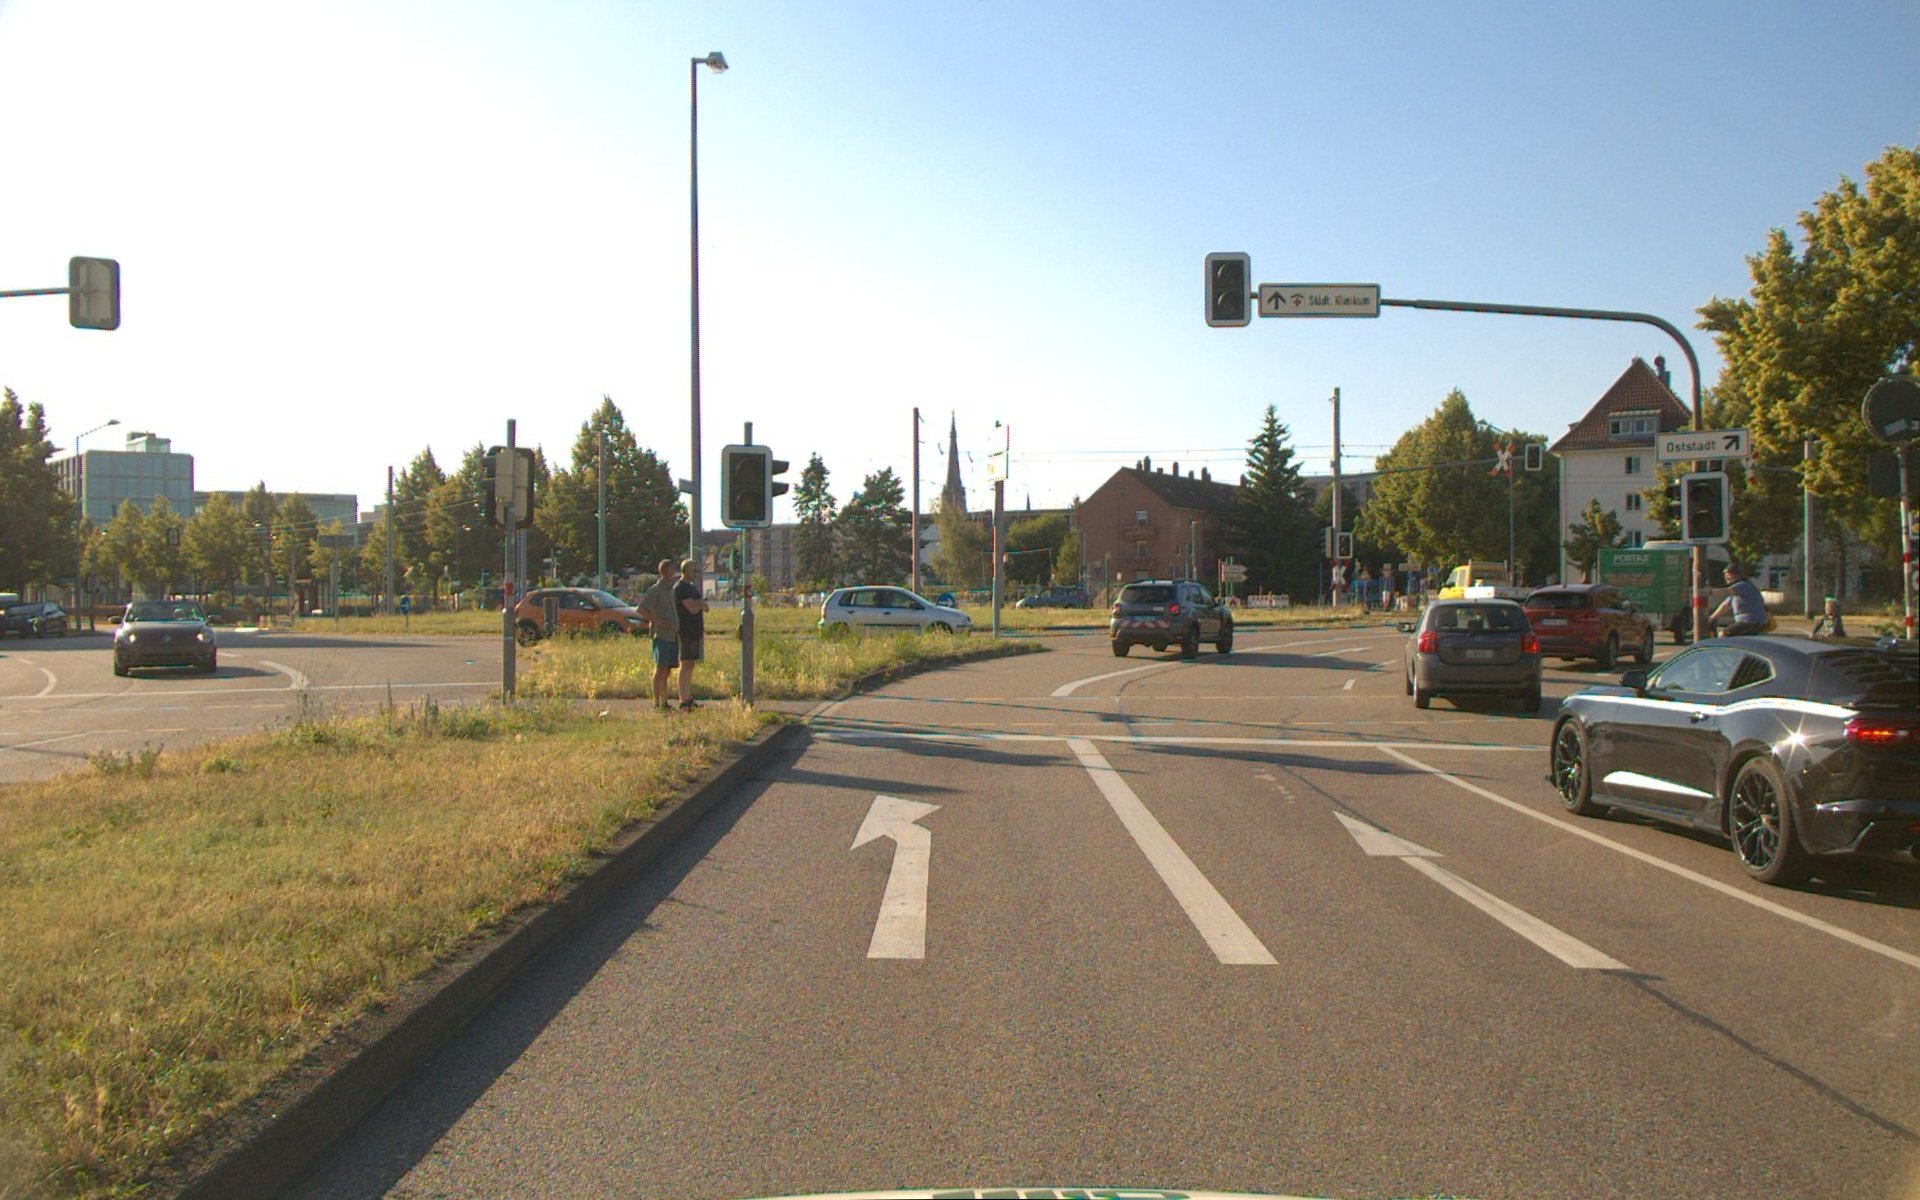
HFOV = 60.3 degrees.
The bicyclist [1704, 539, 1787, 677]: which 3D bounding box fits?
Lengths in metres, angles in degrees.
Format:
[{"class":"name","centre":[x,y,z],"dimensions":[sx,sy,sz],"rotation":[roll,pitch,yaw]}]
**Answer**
[{"class":"bicyclist","centre":[11.222,0.116,23.631],"dimensions":[0.920,1.932,0.599],"rotation":[-2,-1,36]}]

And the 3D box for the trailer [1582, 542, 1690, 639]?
[{"class":"trailer","centre":[17.797,-0.246,43.473],"dimensions":[2.052,2.442,3.492],"rotation":[1,0,32]}]

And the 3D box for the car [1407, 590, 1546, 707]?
[{"class":"car","centre":[7.237,0.622,23.459],"dimensions":[1.710,1.499,3.823],"rotation":[-1,0,15]}]

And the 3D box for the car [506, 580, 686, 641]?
[{"class":"car","centre":[-9.247,0.262,42.121],"dimensions":[4.038,1.470,1.911],"rotation":[-1,0,15]}]

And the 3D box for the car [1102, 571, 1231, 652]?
[{"class":"car","centre":[4.598,0.240,36.389],"dimensions":[1.866,1.689,4.000],"rotation":[0,0,22]}]

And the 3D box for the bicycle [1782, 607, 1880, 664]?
[{"class":"bicycle","centre":[13.121,0.530,24.915],"dimensions":[1.436,0.800,0.437],"rotation":[-1,0,-18]}]

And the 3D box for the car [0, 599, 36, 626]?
[{"class":"car","centre":[-74.410,0.993,130.192],"dimensions":[1.985,2.049,3.935],"rotation":[-1,0,-44]}]

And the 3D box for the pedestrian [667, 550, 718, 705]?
[{"class":"pedestrian","centre":[-3.296,0.332,20.388],"dimensions":[0.475,1.876,0.672],"rotation":[-1,0,3]}]

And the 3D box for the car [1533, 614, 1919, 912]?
[{"class":"car","centre":[5.340,0.829,10.390],"dimensions":[1.816,1.361,4.624],"rotation":[1,1,-1]}]

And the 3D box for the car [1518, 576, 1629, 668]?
[{"class":"car","centre":[12.286,0.380,32.991],"dimensions":[1.713,1.649,3.817],"rotation":[2,2,25]}]

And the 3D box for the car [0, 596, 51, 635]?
[{"class":"car","centre":[-37.067,0.595,65.392],"dimensions":[1.493,1.479,3.416],"rotation":[-1,0,-37]}]

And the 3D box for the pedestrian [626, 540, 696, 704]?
[{"class":"pedestrian","centre":[-3.506,0.262,19.403],"dimensions":[0.476,1.876,0.719],"rotation":[-2,-1,21]}]

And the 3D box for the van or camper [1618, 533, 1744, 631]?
[{"class":"van or camper","centre":[21.218,-0.497,48.459],"dimensions":[2.245,2.675,6.562],"rotation":[1,0,34]}]

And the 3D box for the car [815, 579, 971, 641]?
[{"class":"car","centre":[-1.618,0.246,40.847],"dimensions":[3.668,1.459,1.837],"rotation":[-1,0,3]}]

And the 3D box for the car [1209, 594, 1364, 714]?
[{"class":"car","centre":[4.838,0.737,24.959],"dimensions":[1.569,1.638,4.000],"rotation":[0,0,0]}]

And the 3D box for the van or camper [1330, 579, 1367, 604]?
[{"class":"van or camper","centre":[35.555,-0.805,151.420],"dimensions":[2.055,2.192,4.414],"rotation":[0,0,31]}]

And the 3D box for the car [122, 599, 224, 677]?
[{"class":"car","centre":[-15.815,0.713,33.385],"dimensions":[1.645,1.400,4.119],"rotation":[-2,1,-23]}]

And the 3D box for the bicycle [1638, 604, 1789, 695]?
[{"class":"bicycle","centre":[10.870,0.721,23.901],"dimensions":[1.872,1.266,0.607],"rotation":[-2,-1,37]}]

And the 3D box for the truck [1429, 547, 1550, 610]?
[{"class":"truck","centre":[22.942,-0.903,72.010],"dimensions":[2.532,2.602,6.239],"rotation":[-1,0,-9]}]

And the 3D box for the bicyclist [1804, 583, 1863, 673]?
[{"class":"bicyclist","centre":[13.157,0.417,24.918],"dimensions":[0.638,1.317,0.464],"rotation":[-1,1,-18]}]
